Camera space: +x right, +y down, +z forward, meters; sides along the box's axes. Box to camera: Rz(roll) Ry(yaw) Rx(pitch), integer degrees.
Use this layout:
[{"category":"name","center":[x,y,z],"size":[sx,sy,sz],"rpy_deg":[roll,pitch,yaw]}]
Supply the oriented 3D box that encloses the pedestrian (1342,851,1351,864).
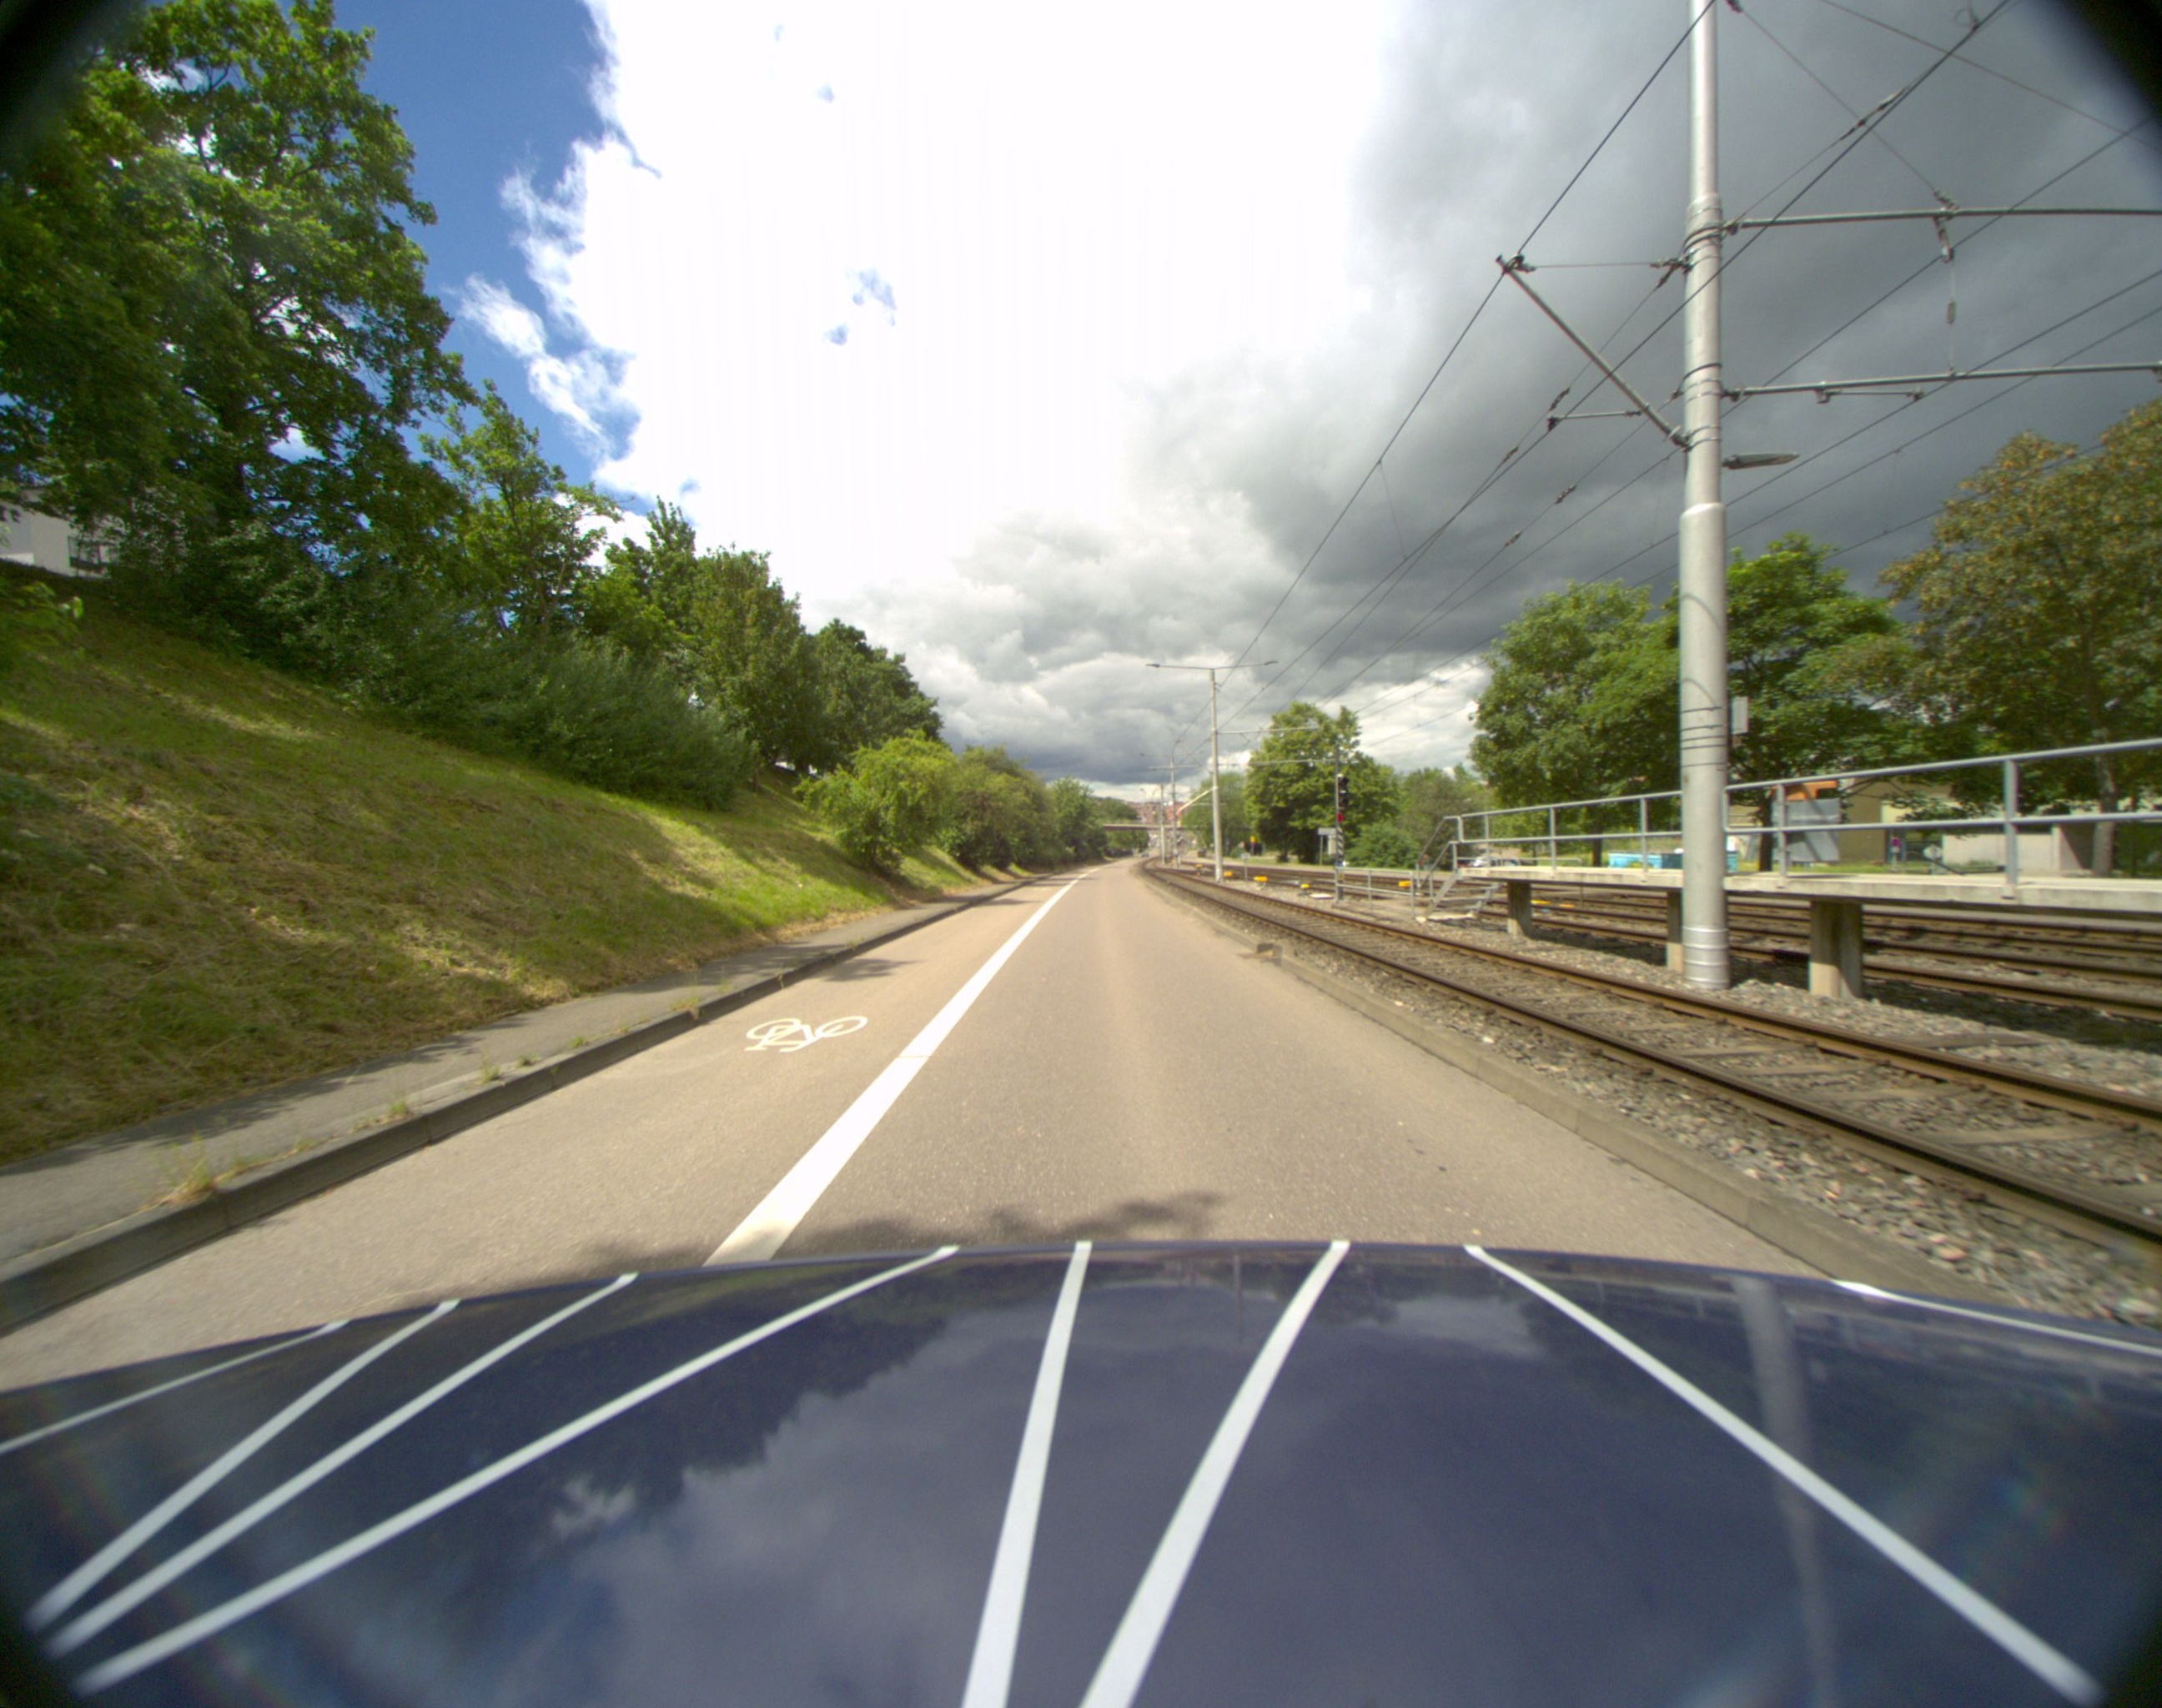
[{"category":"pedestrian","center":[32.029,0.417,91.565],"size":[0.822,1.488,0.682],"rpy_deg":[0,1,-23]}]
